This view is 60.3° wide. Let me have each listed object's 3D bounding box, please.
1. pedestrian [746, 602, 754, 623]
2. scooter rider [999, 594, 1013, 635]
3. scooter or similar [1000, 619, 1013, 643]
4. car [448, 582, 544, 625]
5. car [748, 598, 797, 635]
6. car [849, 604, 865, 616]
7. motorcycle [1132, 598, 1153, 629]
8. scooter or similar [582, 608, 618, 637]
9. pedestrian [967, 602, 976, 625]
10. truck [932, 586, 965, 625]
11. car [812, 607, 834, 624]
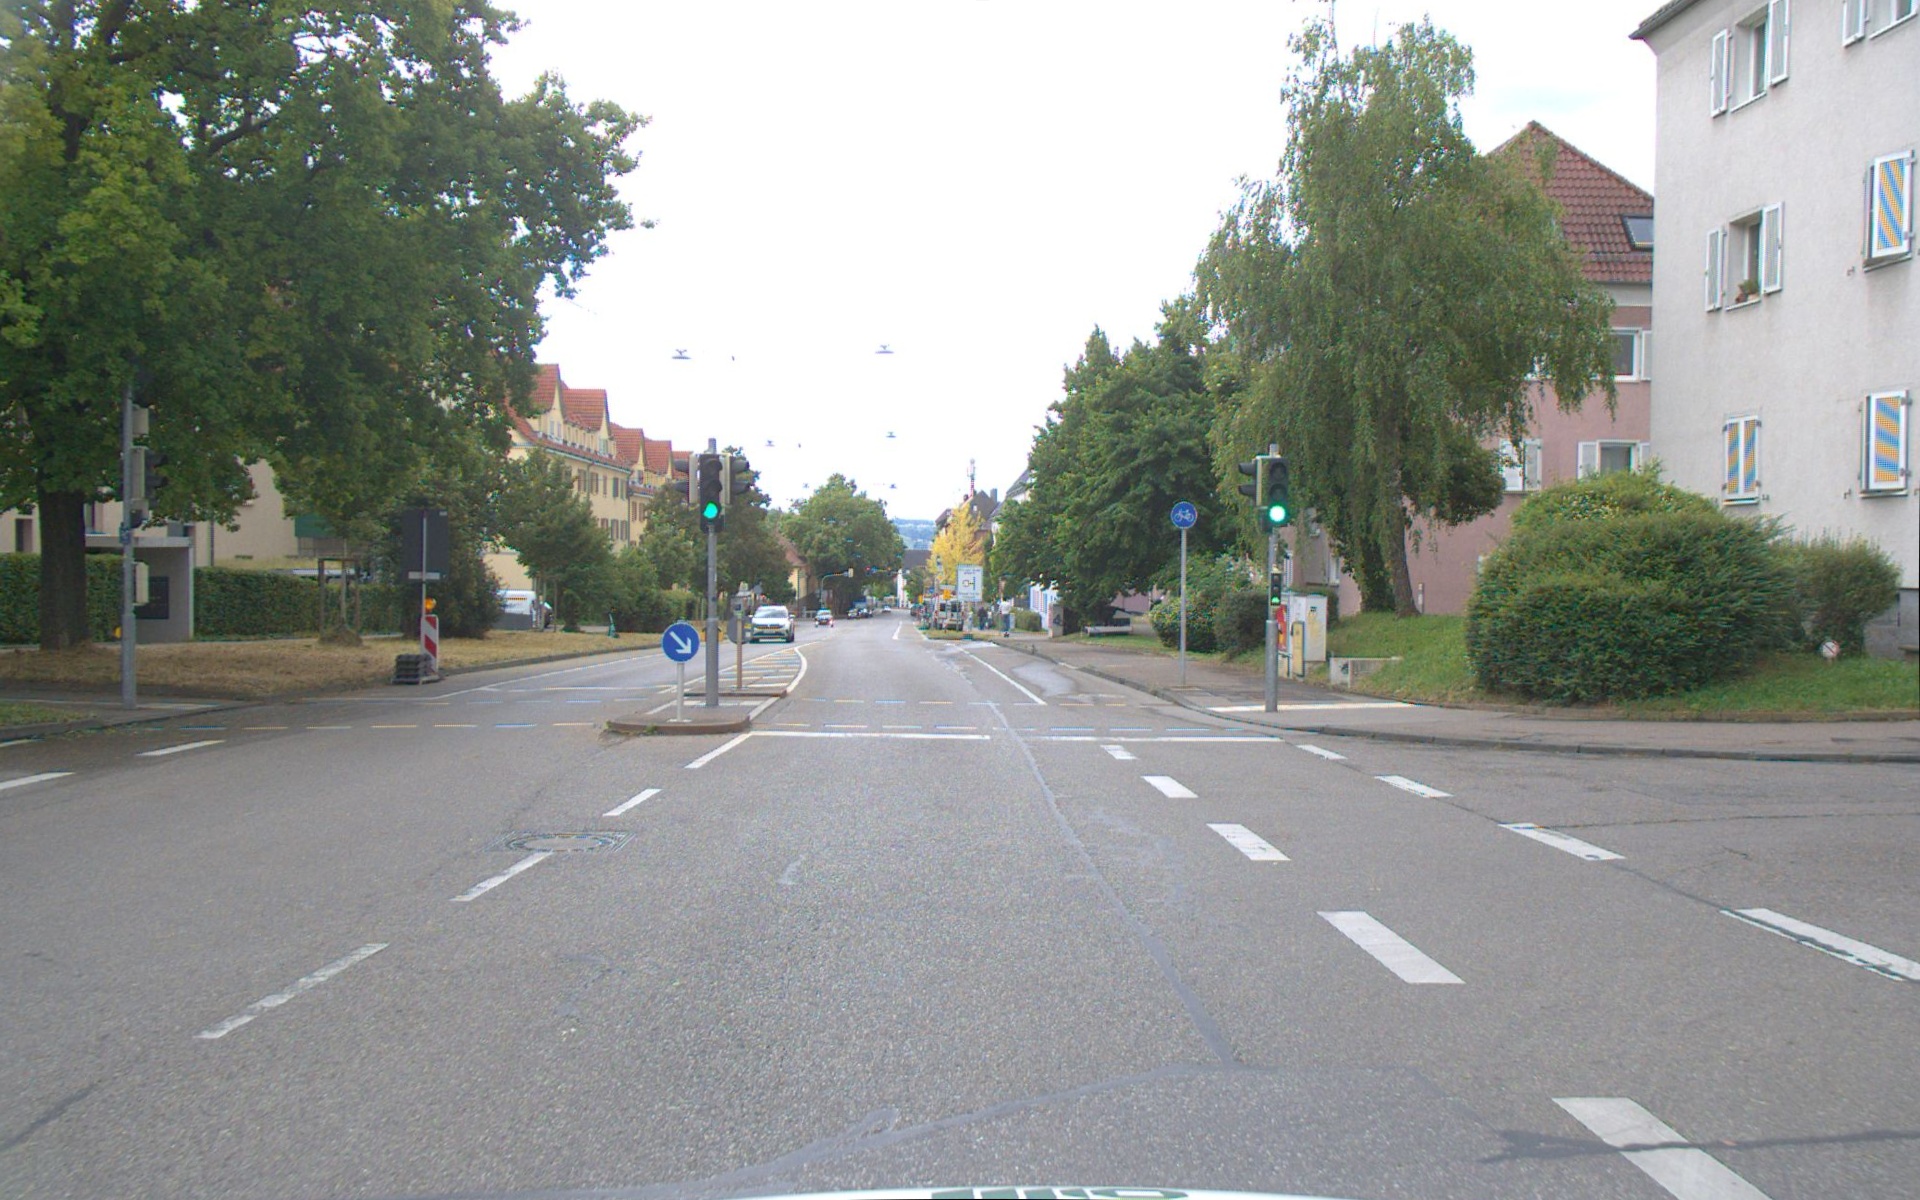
[{"bbox_3d":[-18.316,1.078,144.345,0.585,1.757,0.861,1,-1,1],"label":"pedestrian"},{"bbox_3d":[2.323,0.719,82.965,0.613,2.049,0.757,1,-1,-3],"label":"scooter rider"},{"bbox_3d":[2.316,1.538,82.935,0.481,1.183,2.073,1,0,-3],"label":"scooter or similar"},{"bbox_3d":[-25.102,0.211,89.586,4.622,2.293,1.994,0,-1,-2],"label":"car"},{"bbox_3d":[-7.877,0.665,69.628,1.766,1.489,4.027,-1,0,-3],"label":"car"},{"bbox_3d":[-13.814,1.319,222.405,1.720,1.498,4.307,0,0,1],"label":"car"},{"bbox_3d":[9.467,0.693,85.947,0.716,1.596,2.549,1,0,-1],"label":"motorcycle"},{"bbox_3d":[-14.068,0.876,64.684,1.344,1.105,0.466,0,0,-7],"label":"scooter or similar"},{"bbox_3d":[0.860,1.007,121.726,0.567,1.673,0.559,0,-2,-16],"label":"pedestrian"},{"bbox_3d":[-0.831,0.370,113.952,2.011,2.610,5.686,1,0,-3],"label":"truck"},{"bbox_3d":[-13.377,1.494,161.527,1.861,1.648,4.360,1,0,-1],"label":"car"}]
